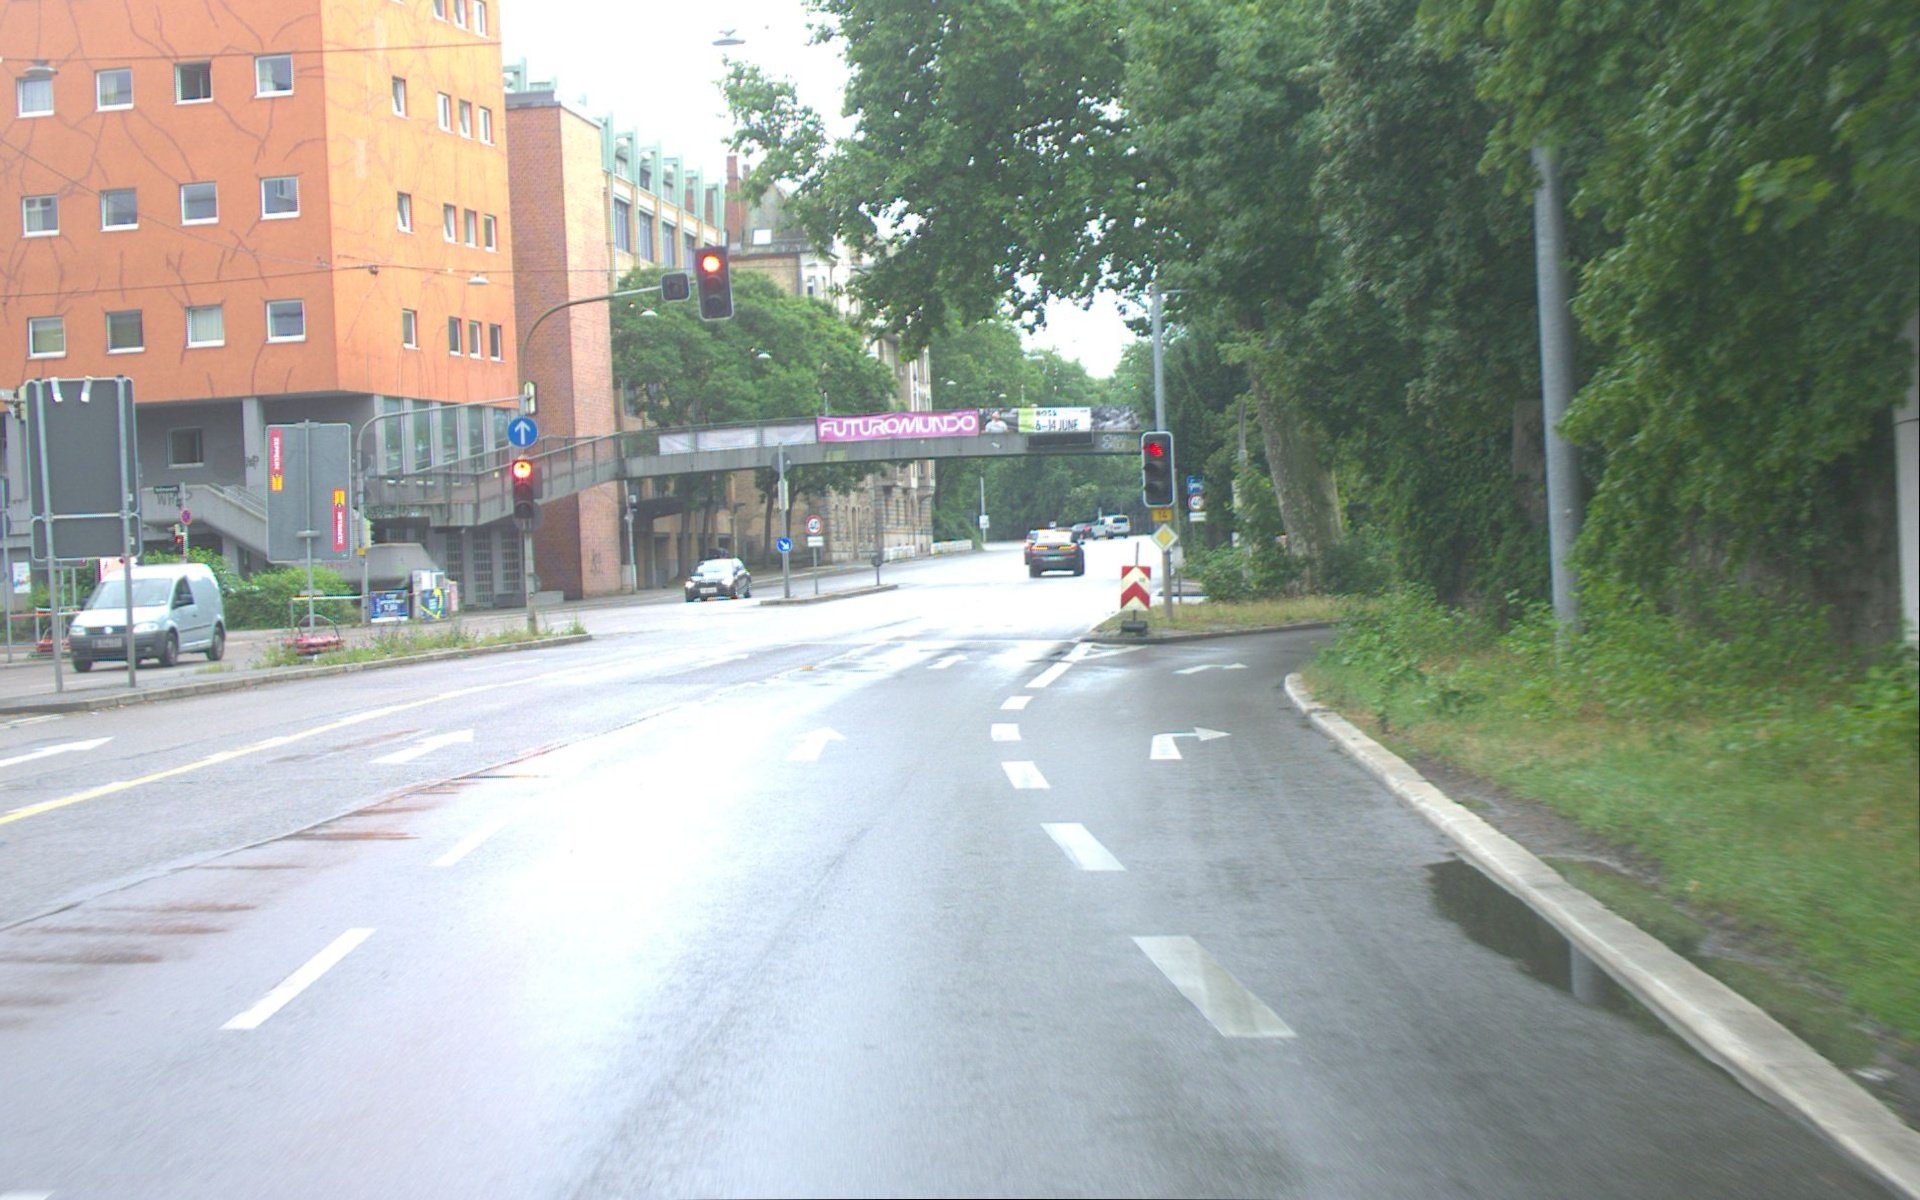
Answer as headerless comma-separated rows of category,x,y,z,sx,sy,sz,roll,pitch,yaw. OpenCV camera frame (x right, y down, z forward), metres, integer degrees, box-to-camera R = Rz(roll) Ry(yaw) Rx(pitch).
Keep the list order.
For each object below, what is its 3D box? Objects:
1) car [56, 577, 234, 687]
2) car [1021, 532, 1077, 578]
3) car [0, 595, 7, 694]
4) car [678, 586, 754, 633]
car,-14.497,0.537,61.373,1.734,1.780,4.301,-4,0,5
car,3.468,-1.771,133.737,2.120,1.729,4.198,-1,1,1
car,-15.613,0.744,50.100,1.830,1.497,4.372,-4,0,5
car,-8.340,0.313,117.704,1.994,1.514,3.999,-2,0,4
